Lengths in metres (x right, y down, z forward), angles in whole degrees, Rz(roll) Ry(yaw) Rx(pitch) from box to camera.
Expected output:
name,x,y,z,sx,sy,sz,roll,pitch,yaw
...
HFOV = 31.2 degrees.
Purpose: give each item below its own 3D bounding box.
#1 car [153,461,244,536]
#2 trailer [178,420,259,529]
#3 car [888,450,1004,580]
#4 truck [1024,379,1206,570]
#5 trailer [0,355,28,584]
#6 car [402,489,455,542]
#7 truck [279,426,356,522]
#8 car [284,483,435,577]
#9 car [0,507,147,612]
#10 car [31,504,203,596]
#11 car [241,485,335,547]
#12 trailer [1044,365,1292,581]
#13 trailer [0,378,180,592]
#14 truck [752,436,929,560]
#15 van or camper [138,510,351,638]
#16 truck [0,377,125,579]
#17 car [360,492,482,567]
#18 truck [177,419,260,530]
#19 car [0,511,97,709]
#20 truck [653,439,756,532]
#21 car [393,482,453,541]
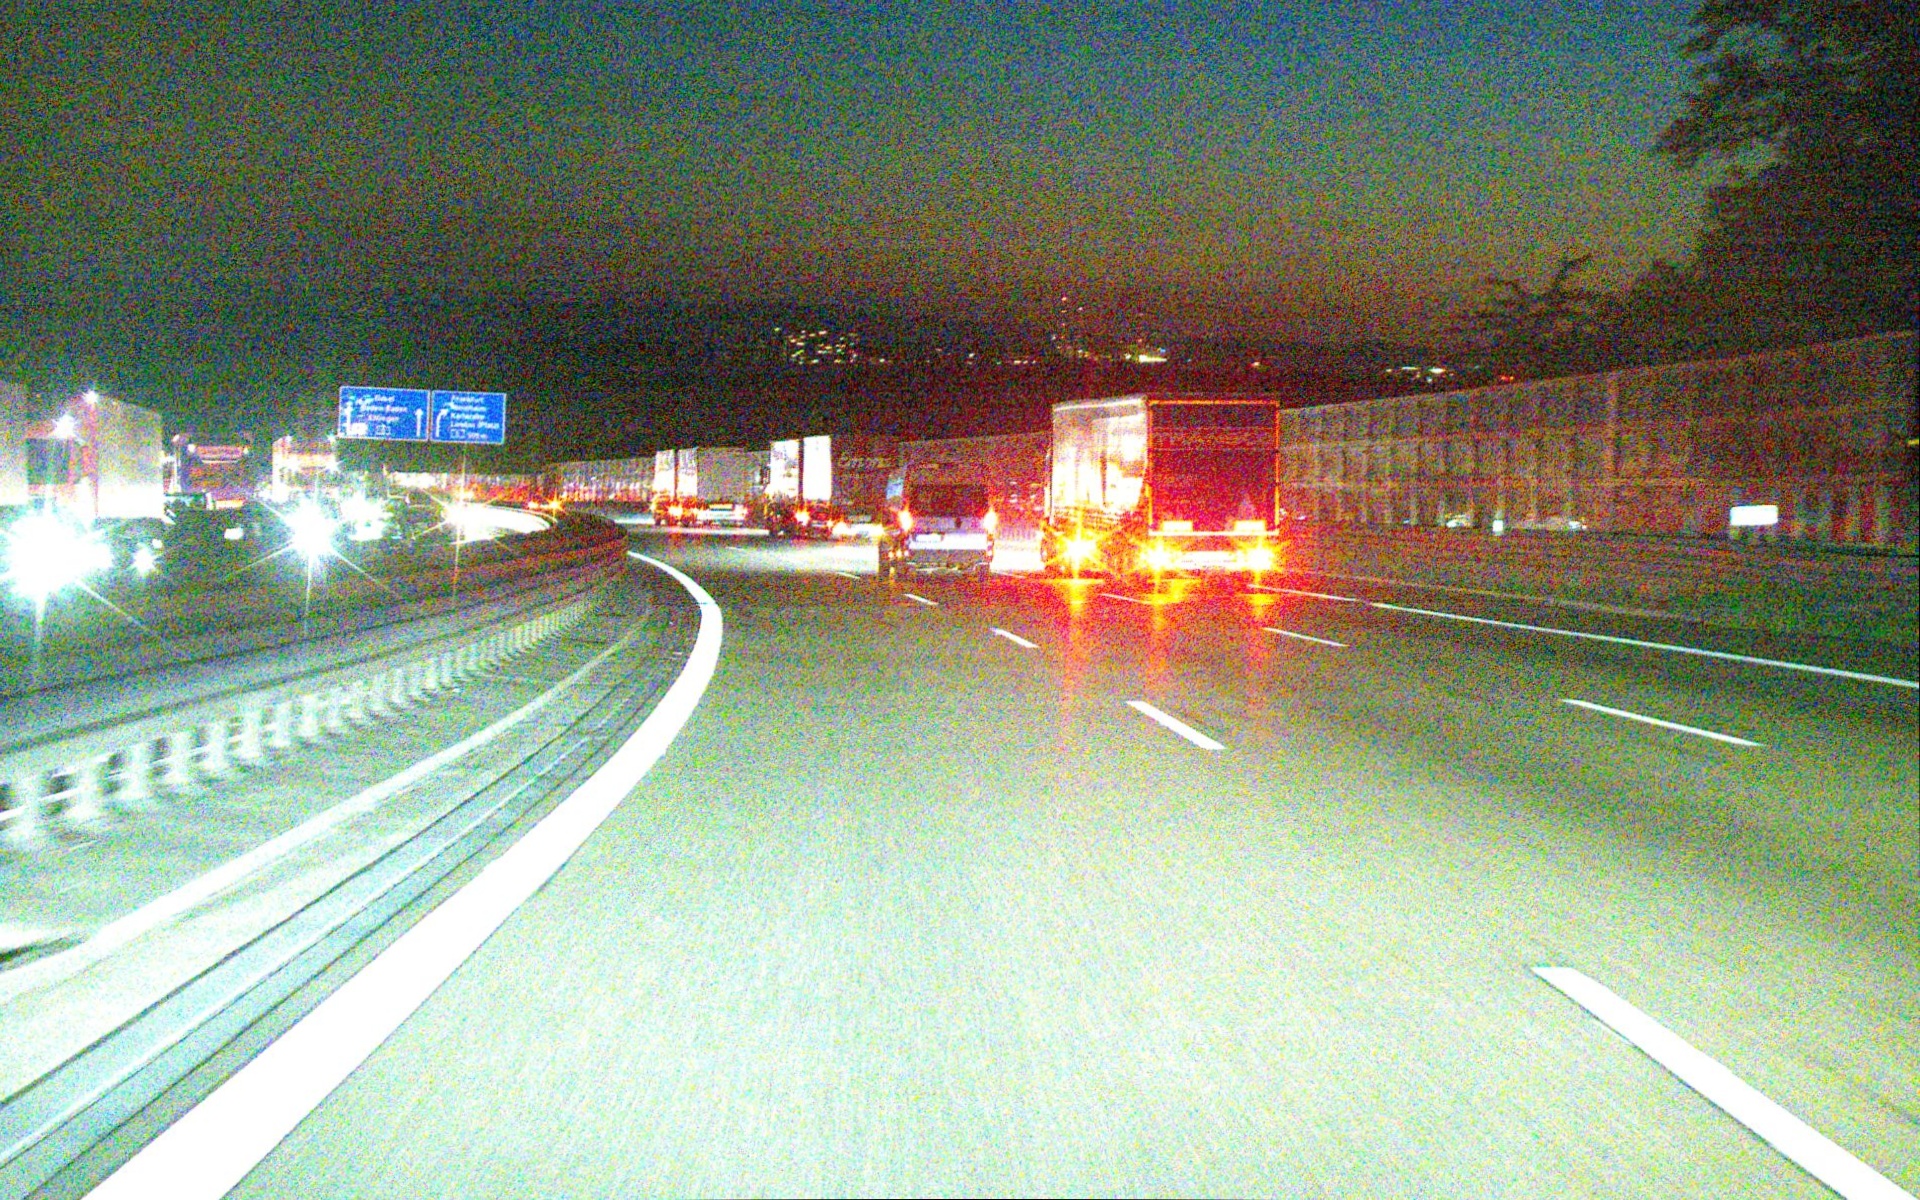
name,x,y,z,sx,sy,sz,roll,pitch,yaw
car,-23.108,-3.068,104.514,1.903,1.880,5.021,3,-2,-4
trailer,-27.619,-4.699,128.000,2.819,3.903,8.743,-1,2,-12
car,-0.351,-1.806,74.918,2.337,2.631,5.248,2,0,-1
truck,3.384,-2.799,77.263,2.861,4.062,7.513,0,2,-7
trailer,-18.459,-2.224,57.914,2.875,4.169,14.527,0,2,-5
car,-19.623,-3.125,127.000,1.875,1.916,5.605,0,1,-9
truck,-29.945,-5.831,160.477,3.107,4.083,7.078,4,0,-9
car,-10.012,-1.174,57.608,1.903,1.487,4.868,0,1,-3
car,-13.542,-0.628,51.064,1.903,1.487,4.938,0,1,-2
car,-14.416,-0.877,59.057,1.903,1.487,4.868,0,1,-2
car,-16.736,-2.084,85.810,1.903,1.487,4.869,0,1,-6
trailer,4.078,-2.606,71.356,2.853,4.053,13.209,0,2,-7
trailer,-20.950,-2.676,82.036,2.839,4.448,14.527,-6,2,-7
truck,-5.101,-4.036,138.970,3.914,4.611,21.025,0,1,-11
van or camper,-8.723,-0.354,42.275,1.739,1.460,4.868,0,1,-2
truck,-20.043,-2.651,75.553,2.615,4.254,5.959,0,1,-7
car,-11.143,-1.460,71.313,1.903,1.487,4.868,0,1,-2
truck,-26.735,-4.539,123.964,2.827,3.902,4.937,-1,2,-12
car,-8.183,0.052,26.637,1.903,1.487,4.868,0,1,-2
truck,-13.366,-5.931,178.623,3.343,4.460,13.915,3,1,-12
car,-17.767,-2.920,113.824,1.875,1.916,4.869,0,1,-8
